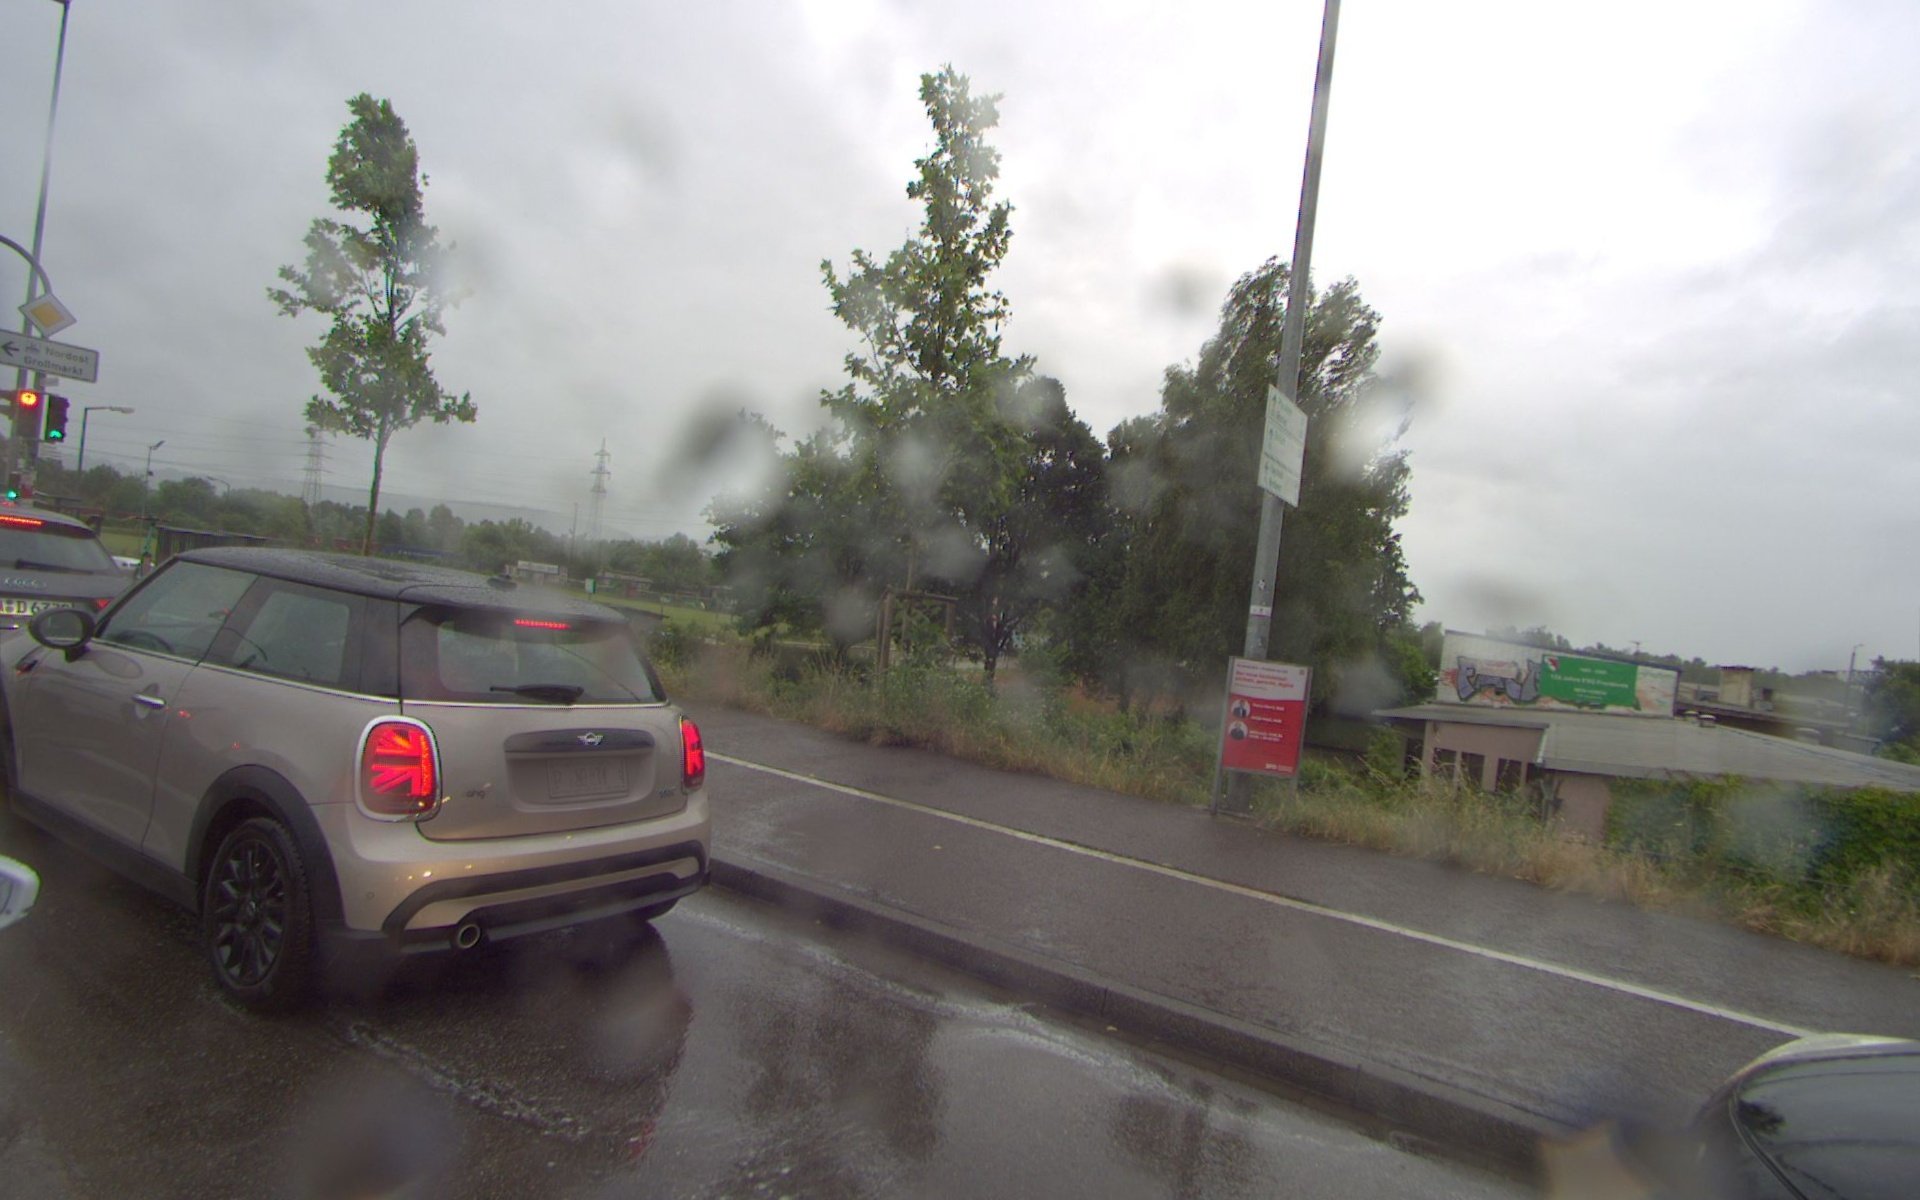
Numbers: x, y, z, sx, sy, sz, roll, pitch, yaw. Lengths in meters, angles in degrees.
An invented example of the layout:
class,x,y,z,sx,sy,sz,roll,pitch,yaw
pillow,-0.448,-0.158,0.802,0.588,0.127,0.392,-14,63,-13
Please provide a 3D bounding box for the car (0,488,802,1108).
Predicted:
class,x,y,z,sx,sy,sz,roll,pitch,yaw
car,-2.693,0.493,4.325,3.563,1.525,1.717,7,-2,31

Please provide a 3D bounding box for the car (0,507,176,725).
class,x,y,z,sx,sy,sz,roll,pitch,yaw
car,-7.489,-0.057,7.229,3.563,1.360,1.632,6,-2,31

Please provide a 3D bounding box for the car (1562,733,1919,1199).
class,x,y,z,sx,sy,sz,roll,pitch,yaw
car,2.785,1.184,1.058,3.563,1.445,1.632,7,-1,31

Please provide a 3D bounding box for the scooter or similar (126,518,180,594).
class,x,y,z,sx,sy,sz,roll,pitch,yaw
scooter or similar,-13.658,-0.753,17.019,1.167,1.171,0.246,6,-1,33
